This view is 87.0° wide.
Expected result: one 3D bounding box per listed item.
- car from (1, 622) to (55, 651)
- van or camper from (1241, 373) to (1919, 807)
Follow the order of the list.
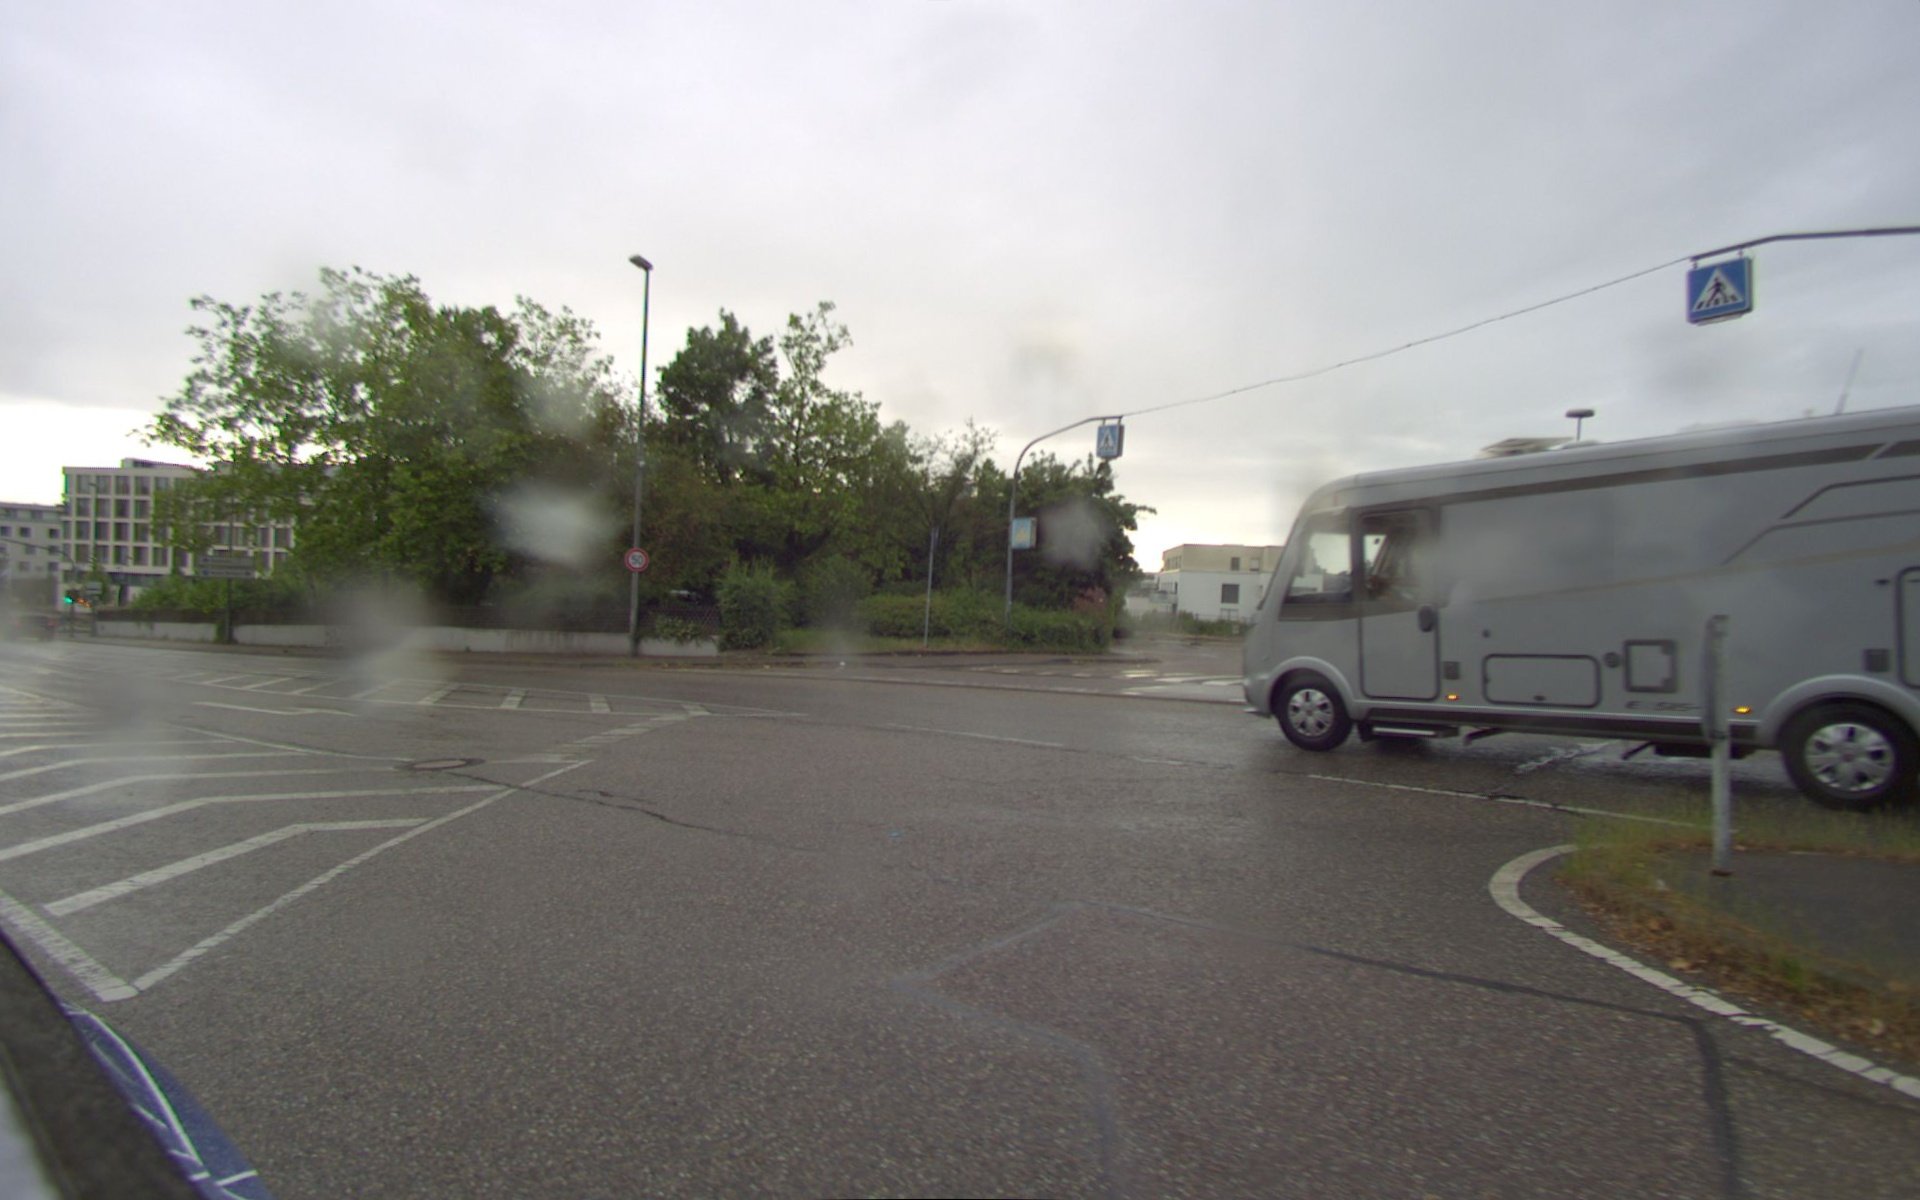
[{"bbox_3d":[-53.512,2.079,58.113,3.997,1.526,1.795,0,-1,40],"label":"car"},{"bbox_3d":[5.927,-0.062,8.023,2.338,2.676,7.030,0,0,-41],"label":"van or camper"}]
